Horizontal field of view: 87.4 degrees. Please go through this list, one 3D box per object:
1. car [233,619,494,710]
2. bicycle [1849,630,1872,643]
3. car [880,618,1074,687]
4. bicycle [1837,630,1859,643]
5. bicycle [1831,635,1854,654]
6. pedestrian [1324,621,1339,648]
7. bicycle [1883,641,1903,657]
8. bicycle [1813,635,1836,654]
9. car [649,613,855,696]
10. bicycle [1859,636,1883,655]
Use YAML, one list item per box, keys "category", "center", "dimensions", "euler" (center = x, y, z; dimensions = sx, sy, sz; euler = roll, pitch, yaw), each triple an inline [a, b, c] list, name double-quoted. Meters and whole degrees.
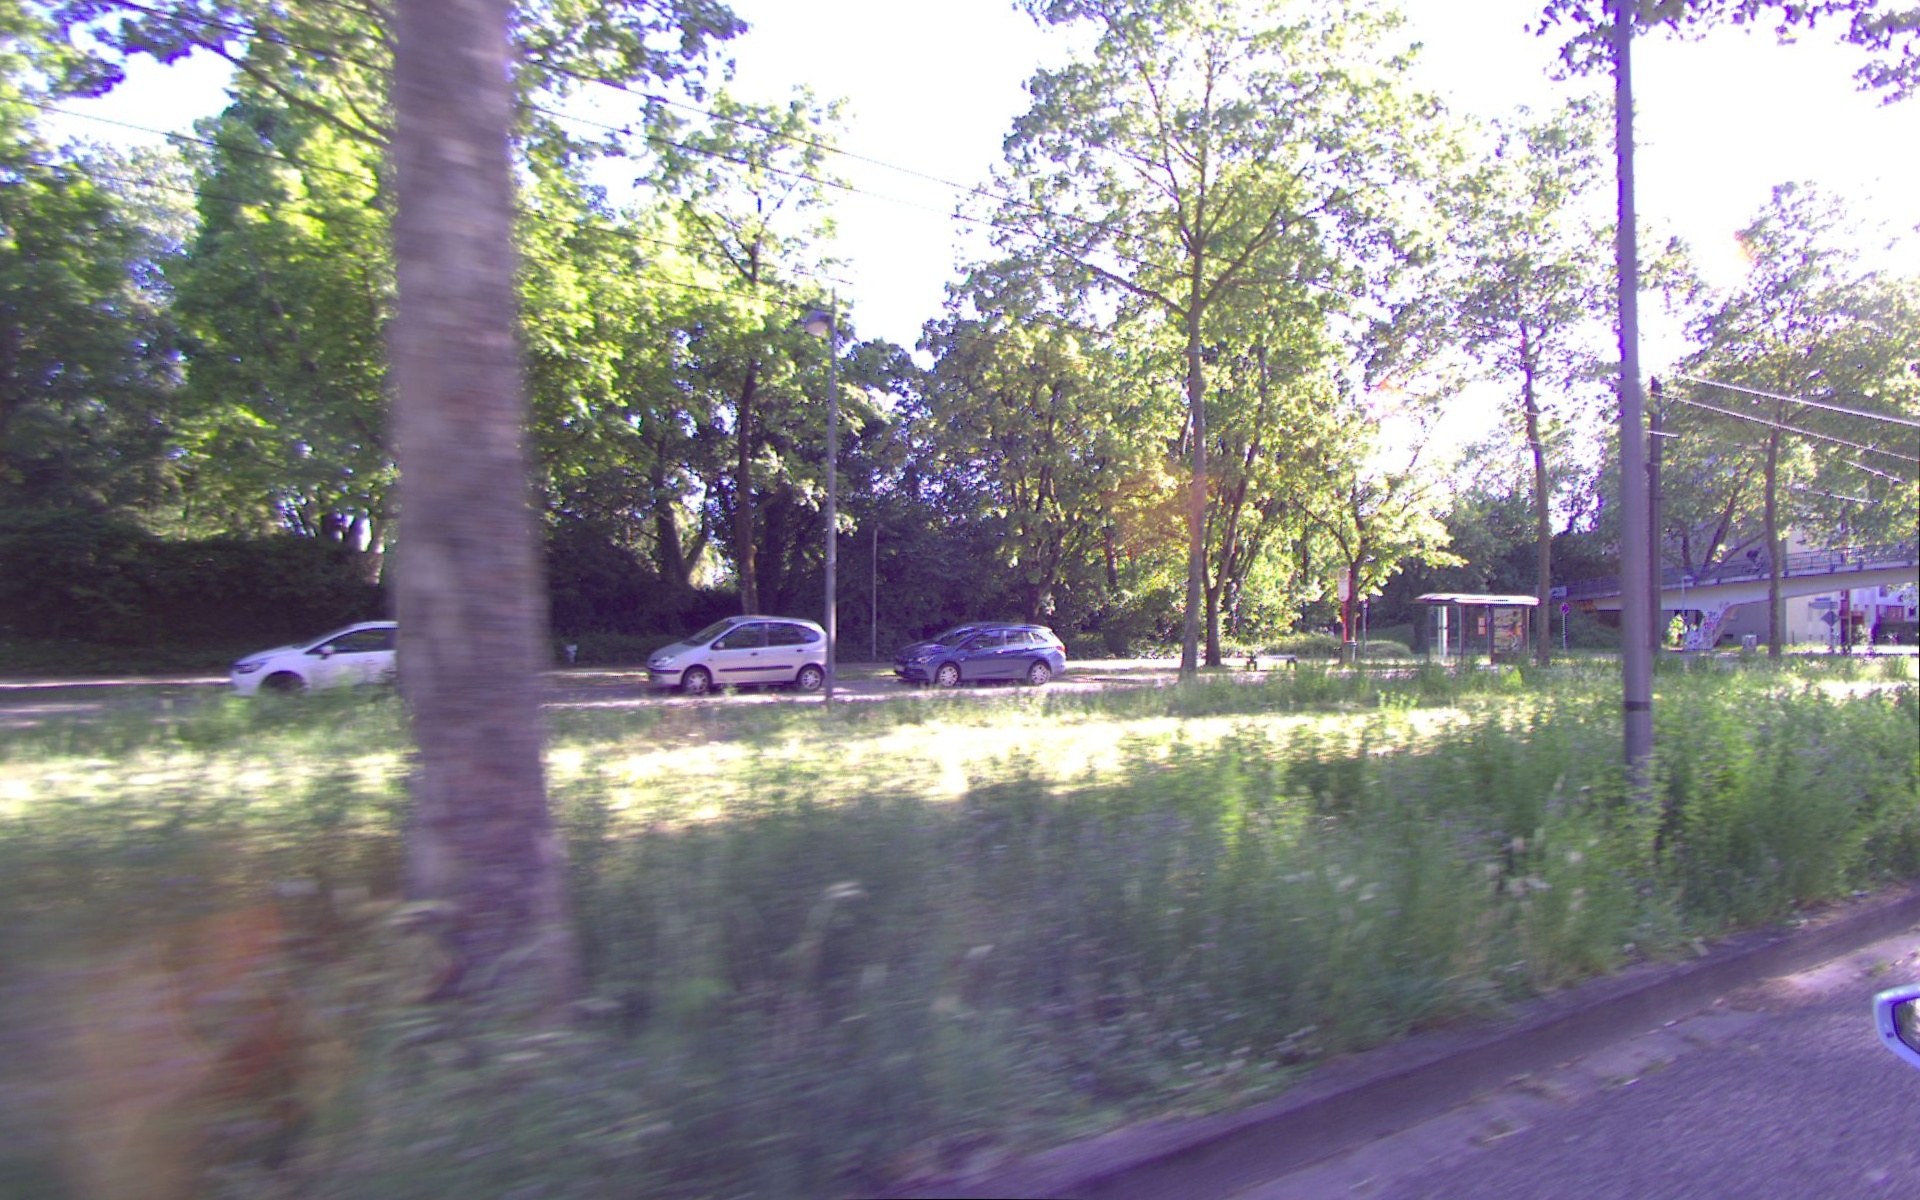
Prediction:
- category: "car"
  center: [-10.919, 1.139, 18.660]
  dimensions: [3.975, 1.438, 1.711]
  euler: [1, 2, -30]
- category: "bicycle"
  center: [73.613, 2.997, 82.089]
  dimensions: [2.566, 0.940, 0.691]
  euler: [0, 1, -32]
- category: "car"
  center: [0.460, 1.296, 25.531]
  dimensions: [4.572, 1.508, 1.889]
  euler: [2, 2, -30]
- category: "bicycle"
  center: [73.233, 2.993, 82.833]
  dimensions: [2.566, 0.940, 0.691]
  euler: [0, 1, -32]
- category: "bicycle"
  center: [50.063, 2.526, 56.974]
  dimensions: [1.665, 1.022, 0.432]
  euler: [1, 0, -29]
- category: "pedestrian"
  center: [20.894, 1.954, 56.495]
  dimensions: [0.581, 1.511, 0.530]
  euler: [1, 0, -35]
- category: "bicycle"
  center: [50.305, 2.643, 54.156]
  dimensions: [1.159, 0.789, 0.432]
  euler: [1, 0, -29]
- category: "bicycle"
  center: [48.895, 2.494, 56.797]
  dimensions: [1.665, 1.022, 0.432]
  euler: [1, 0, -29]
- category: "car"
  center: [-4.645, 1.182, 22.518]
  dimensions: [4.139, 1.618, 1.807]
  euler: [2, 2, -30]
- category: "bicycle"
  center: [50.307, 2.522, 55.475]
  dimensions: [1.665, 1.022, 0.432]
  euler: [1, 0, -29]
